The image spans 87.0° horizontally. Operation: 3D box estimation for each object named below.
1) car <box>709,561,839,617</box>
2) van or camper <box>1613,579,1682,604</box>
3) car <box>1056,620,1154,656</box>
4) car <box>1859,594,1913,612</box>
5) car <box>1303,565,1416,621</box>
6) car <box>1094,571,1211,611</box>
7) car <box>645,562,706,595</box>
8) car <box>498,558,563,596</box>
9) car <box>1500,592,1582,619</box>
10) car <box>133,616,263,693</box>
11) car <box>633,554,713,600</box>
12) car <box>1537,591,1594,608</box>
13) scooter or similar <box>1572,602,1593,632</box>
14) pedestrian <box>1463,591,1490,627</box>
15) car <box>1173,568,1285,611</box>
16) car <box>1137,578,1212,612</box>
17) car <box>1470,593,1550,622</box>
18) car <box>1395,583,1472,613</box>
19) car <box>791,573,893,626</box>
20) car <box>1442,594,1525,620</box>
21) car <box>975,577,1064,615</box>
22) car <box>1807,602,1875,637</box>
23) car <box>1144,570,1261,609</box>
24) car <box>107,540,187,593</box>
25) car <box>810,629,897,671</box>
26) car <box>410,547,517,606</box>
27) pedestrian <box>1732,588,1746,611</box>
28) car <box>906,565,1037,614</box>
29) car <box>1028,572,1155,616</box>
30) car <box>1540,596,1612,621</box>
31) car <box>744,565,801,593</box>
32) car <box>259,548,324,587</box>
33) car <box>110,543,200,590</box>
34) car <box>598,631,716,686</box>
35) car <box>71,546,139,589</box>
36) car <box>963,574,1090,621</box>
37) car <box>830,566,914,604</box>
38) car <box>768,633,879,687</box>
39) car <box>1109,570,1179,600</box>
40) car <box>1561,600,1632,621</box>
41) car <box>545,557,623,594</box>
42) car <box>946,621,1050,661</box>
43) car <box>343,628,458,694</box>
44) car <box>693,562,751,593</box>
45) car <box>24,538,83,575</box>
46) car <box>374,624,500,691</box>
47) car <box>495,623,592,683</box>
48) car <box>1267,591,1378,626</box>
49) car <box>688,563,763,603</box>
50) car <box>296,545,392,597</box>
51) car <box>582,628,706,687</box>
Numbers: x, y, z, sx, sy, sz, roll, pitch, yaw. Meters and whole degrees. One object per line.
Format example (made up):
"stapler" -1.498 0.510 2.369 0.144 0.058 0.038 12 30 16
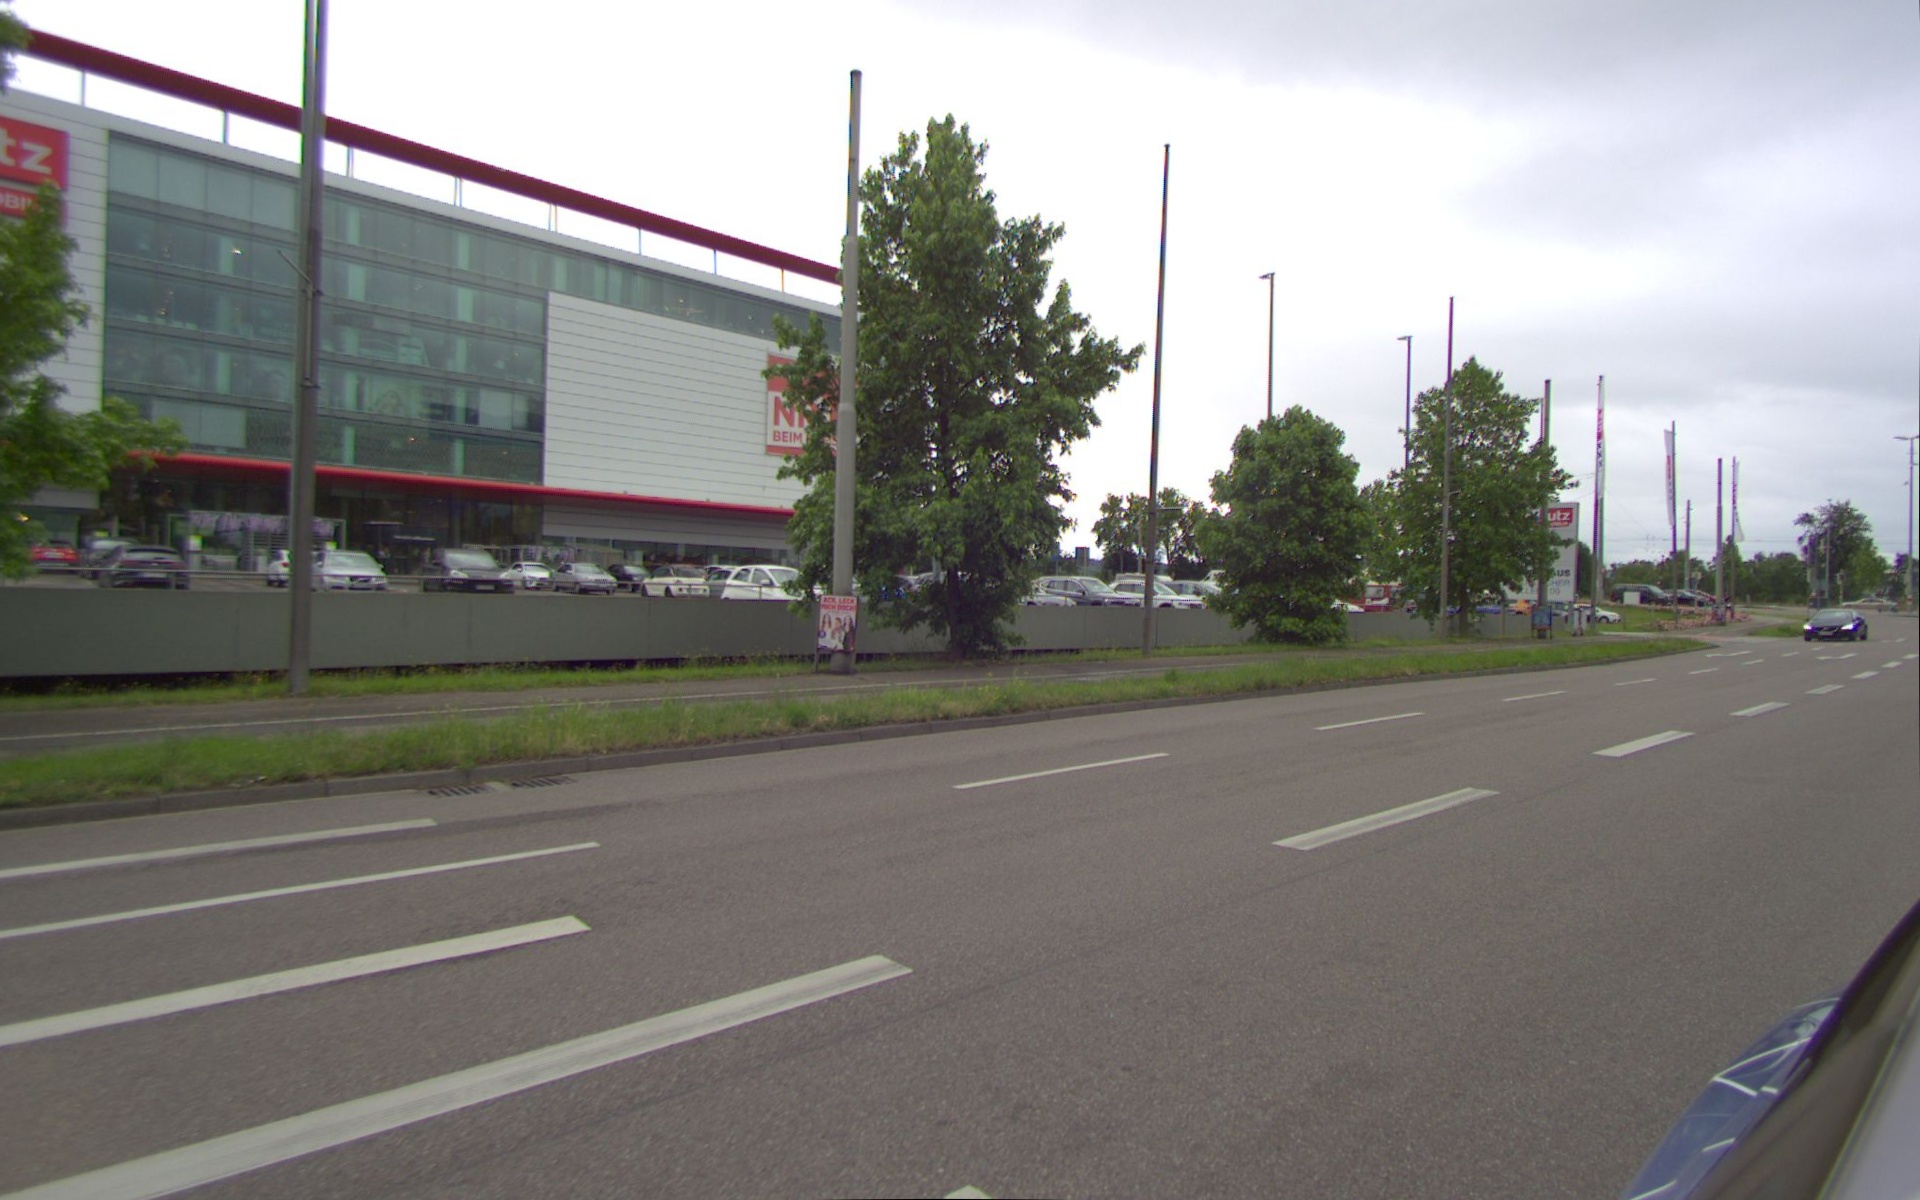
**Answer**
"car" -4.962 -0.288 26.742 3.513 1.324 1.581 1 -1 43
"van or camper" 62.324 -0.806 91.835 2.080 2.038 4.762 -2 3 -26
"car" 6.191 1.595 43.478 1.733 1.367 4.061 0 0 -40
"car" 95.747 0.273 104.705 4.063 1.756 1.751 1 -1 40
"car" 19.719 -0.334 50.081 2.132 2.612 4.731 3 -1 -40
"car" 7.154 -0.354 37.880 1.733 1.367 4.059 3 -1 -43
"car" -14.579 -1.089 51.791 1.710 1.574 3.803 3 -1 -37
"car" -22.289 -1.161 52.460 1.784 1.804 3.985 3 -1 -44
"car" 37.750 0.353 65.825 4.511 1.603 1.748 1 2 35
"car" -13.525 0.896 17.893 1.578 1.146 3.519 0 0 -41
"car" -11.719 -0.928 41.208 1.702 1.724 3.743 3 -1 -40
"car" 58.618 -0.059 98.033 1.932 1.482 4.321 1 2 -37
"scooter or similar" 25.313 0.694 41.152 1.227 1.206 0.370 1 0 -43
"pedestrian" 25.600 0.458 50.189 0.870 1.742 0.940 3 -2 -44
"car" 10.740 -0.414 40.586 1.732 1.560 4.062 3 -1 -40
"car" 11.728 -0.274 55.512 1.703 1.790 3.743 3 -1 -40
"car" 34.157 0.423 62.902 1.782 1.664 3.998 0 1 -37
"car" 36.697 -0.203 78.564 2.083 2.192 5.050 0 2 -37
"car" -4.788 -0.017 40.655 1.966 2.039 4.181 2 -1 -42
"car" 30.743 0.389 59.504 1.783 1.473 3.994 0 1 -41
"car" 2.739 -0.174 47.044 1.800 1.685 4.181 0 0 -39
"car" 39.763 0.852 45.635 4.272 1.408 1.995 -1 1 -44
"car" 9.259 -0.406 38.919 1.803 1.367 4.059 3 -1 -43
"car" -23.481 -0.921 29.243 1.670 1.373 3.640 3 -1 -39
"car" -4.729 2.161 44.781 1.754 1.643 3.989 0 0 -44
"car" -15.432 -0.724 31.331 1.964 1.612 4.376 3 -1 -40
"pedestrian" 57.316 -0.035 74.419 0.711 1.616 0.775 0 2 31
"car" 0.298 -0.326 31.185 1.733 1.367 4.059 3 -1 -43
"car" 4.484 -0.211 34.877 1.779 1.367 4.157 3 -1 -43
"car" 43.413 0.597 71.382 4.093 1.603 1.741 1 -1 45
"car" -11.612 -1.273 62.589 1.712 1.574 3.777 3 -1 -42
"car" -26.651 -1.268 40.318 1.671 1.411 3.692 3 -1 -41
"car" -30.343 -1.272 38.134 3.801 1.600 1.781 2 0 38
"car" -8.989 1.678 29.853 1.734 1.367 4.058 0 0 -43
"car" -34.381 -1.281 40.670 3.633 1.552 1.673 1 -1 44
"car" 2.118 -0.093 33.092 1.733 1.417 4.059 3 -1 -43
"car" -4.136 -0.737 47.267 1.803 1.643 3.991 0 2 -44
"car" -4.626 1.952 33.875 1.733 1.571 4.059 0 0 -42
"car" 19.113 -1.556 105.523 2.722 3.028 6.935 3 -1 -43
"car" 47.210 0.783 75.093 1.844 1.464 4.111 3 -1 -43
"car" -17.963 -1.138 48.251 1.835 1.606 4.287 3 -1 -45
"car" 1.431 1.552 39.507 1.733 1.367 4.060 0 0 -42
"car" -13.870 1.442 24.981 1.733 1.367 4.061 0 0 -40
"car" -12.664 -1.156 53.738 1.707 1.607 3.578 0 0 -37
"car" -42.049 -1.985 46.904 3.632 1.517 1.682 1 -1 43
"car" -10.741 1.114 20.693 1.489 1.146 3.519 0 0 -41
"car" -14.738 1.795 35.693 1.964 1.855 4.376 0 0 -40
"car" 16.531 0.367 46.326 1.926 1.480 4.383 3 -1 -40
"car" -9.922 -0.702 42.631 1.583 1.545 3.569 3 -1 -40
"car" -20.058 -0.909 32.895 1.816 1.538 4.233 3 -1 -43
"car" -7.363 1.280 23.421 1.430 1.146 3.519 0 0 -41
